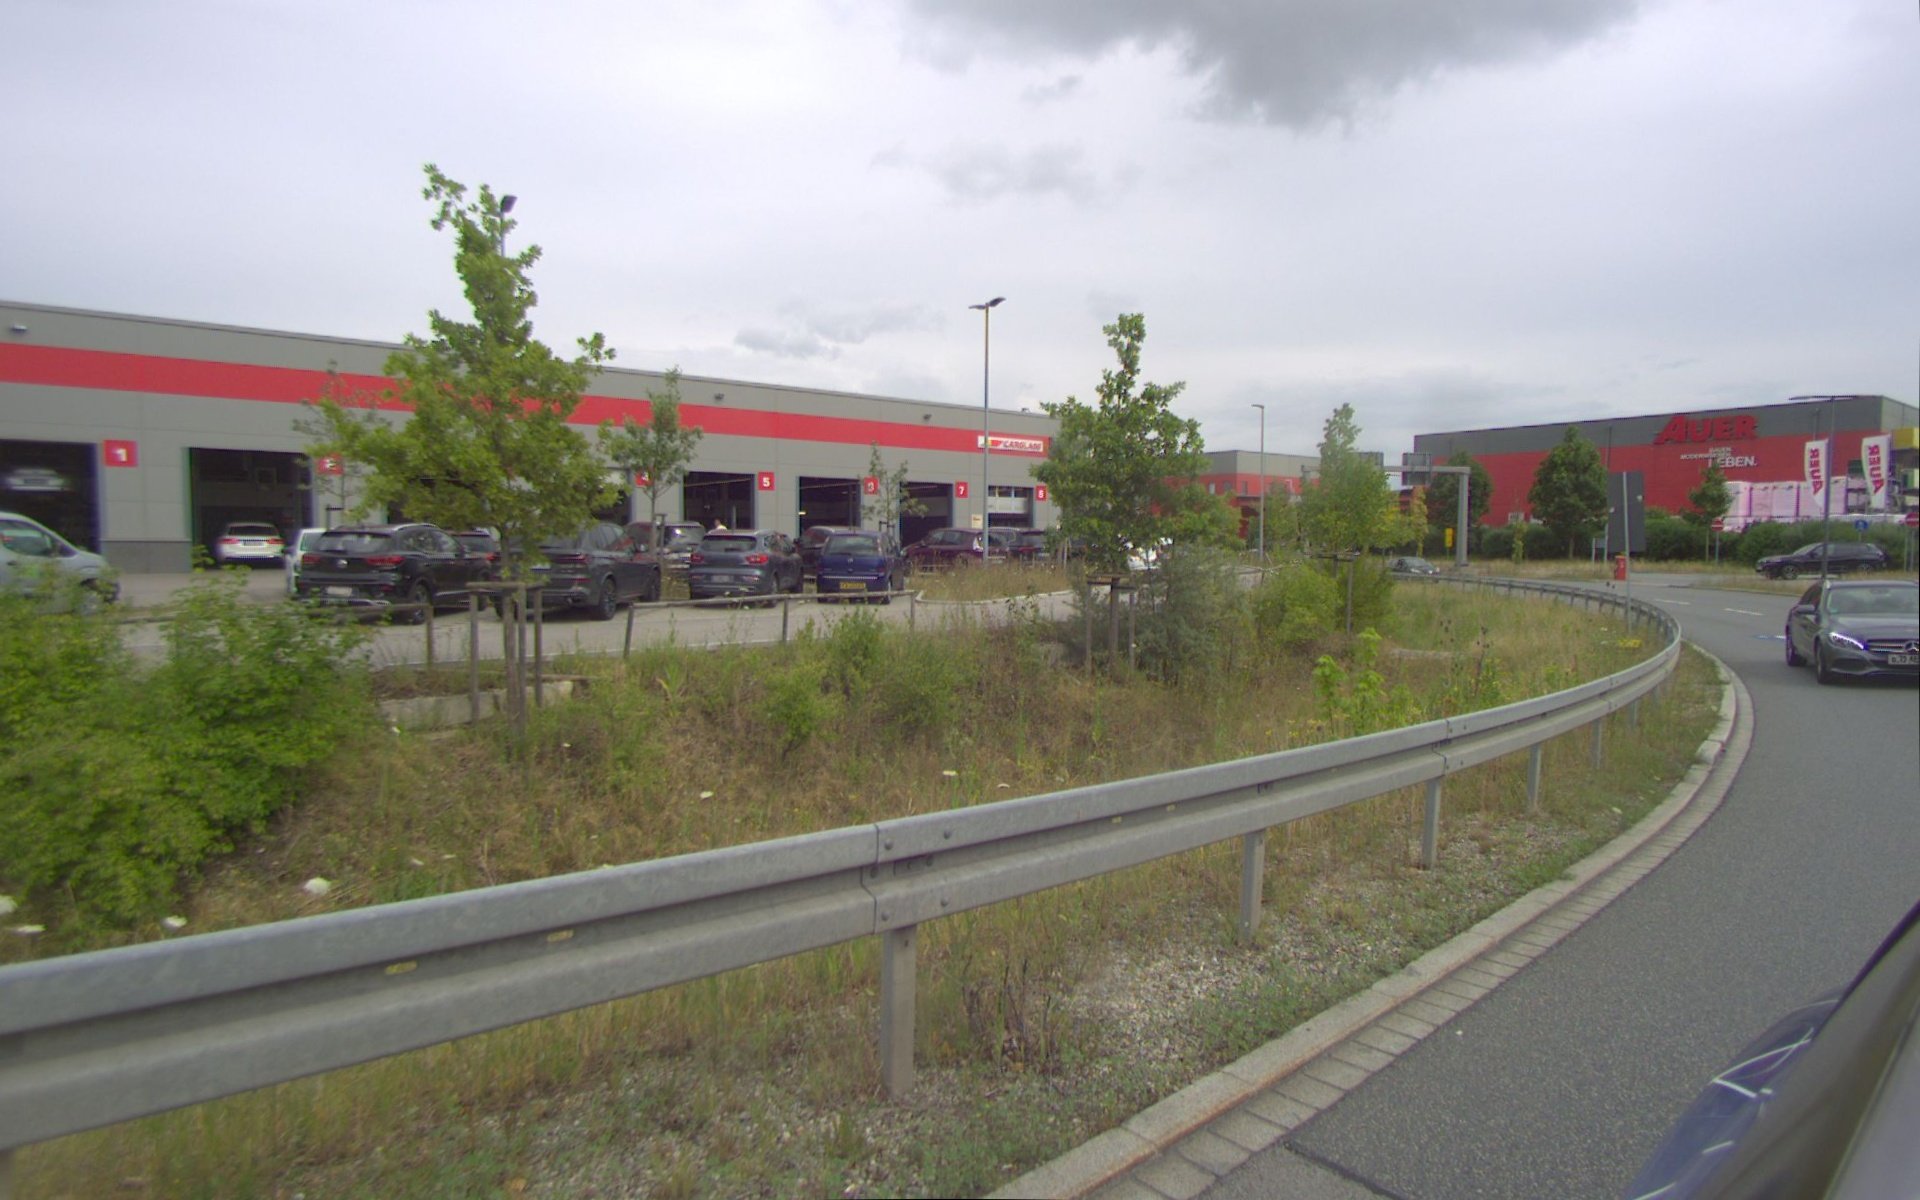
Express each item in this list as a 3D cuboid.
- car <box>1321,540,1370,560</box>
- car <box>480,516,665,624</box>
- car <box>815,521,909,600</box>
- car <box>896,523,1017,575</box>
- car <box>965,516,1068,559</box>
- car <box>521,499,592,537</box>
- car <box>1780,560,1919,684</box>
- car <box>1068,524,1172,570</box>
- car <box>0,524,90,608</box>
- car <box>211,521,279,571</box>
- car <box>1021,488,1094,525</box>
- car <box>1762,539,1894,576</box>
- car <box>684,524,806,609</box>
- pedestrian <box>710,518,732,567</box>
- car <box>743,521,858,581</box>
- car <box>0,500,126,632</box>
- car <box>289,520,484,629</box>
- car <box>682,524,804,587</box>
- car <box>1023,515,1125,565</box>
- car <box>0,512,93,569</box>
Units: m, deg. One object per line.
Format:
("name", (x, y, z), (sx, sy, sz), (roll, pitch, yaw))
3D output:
("car", (31.944, -4.144, 83.947), (1.433, 1.503, 4.106), (-4, 4, -18))
("car", (-7.136, -0.678, 19.176), (1.797, 1.754, 4.556), (1, 5, -1))
("car", (-2.210, -0.994, 23.743), (1.637, 1.657, 3.766), (1, 5, 3))
("car", (-0.153, -1.630, 32.226), (1.649, 1.556, 3.876), (-3, 4, -44))
("car", (1.832, -2.050, 33.716), (1.613, 1.350, 3.446), (-2, 4, -36))
("car", (-15.553, -3.118, 38.929), (1.630, 1.240, 3.914), (1, 1, -35))
("car", (14.017, 0.241, 15.320), (1.892, 1.515, 4.293), (-2, 2, 31))
("car", (5.810, -1.971, 37.040), (1.614, 1.556, 3.629), (-2, 6, -37))
("car", (-17.964, -0.717, 19.458), (1.566, 1.405, 3.968), (-2, 6, -37))
("car", (-22.884, -1.698, 32.475), (1.655, 1.459, 3.600), (1, 1, -34))
("car", (5.272, -5.085, 55.344), (1.674, 1.833, 3.969), (0, 2, -38))
("car", (39.959, -1.948, 46.712), (4.206, 1.568, 1.861), (0, 4, 23))
("car", (-4.574, -0.811, 22.078), (1.726, 1.626, 3.810), (1, 5, 2))
("pedestrian", (-8.789, -2.112, 37.171), (0.618, 1.763, 0.675), (1, 2, 2))
("car", (-4.808, -1.524, 30.172), (1.691, 1.648, 3.893), (-4, 6, -39))
("car", (-14.554, -0.499, 14.499), (1.797, 1.863, 4.199), (1, 5, -2))
("car", (-9.774, -0.540, 17.588), (1.616, 1.649, 3.716), (1, 5, -7))
("car", (-6.053, -1.291, 27.979), (1.691, 1.552, 3.893), (-4, 6, -39))
("car", (3.947, -2.097, 35.529), (1.700, 1.655, 3.446), (-2, 3, -36))
("car", (-27.003, -1.726, 29.878), (1.762, 1.534, 3.914), (1, 1, -35))
